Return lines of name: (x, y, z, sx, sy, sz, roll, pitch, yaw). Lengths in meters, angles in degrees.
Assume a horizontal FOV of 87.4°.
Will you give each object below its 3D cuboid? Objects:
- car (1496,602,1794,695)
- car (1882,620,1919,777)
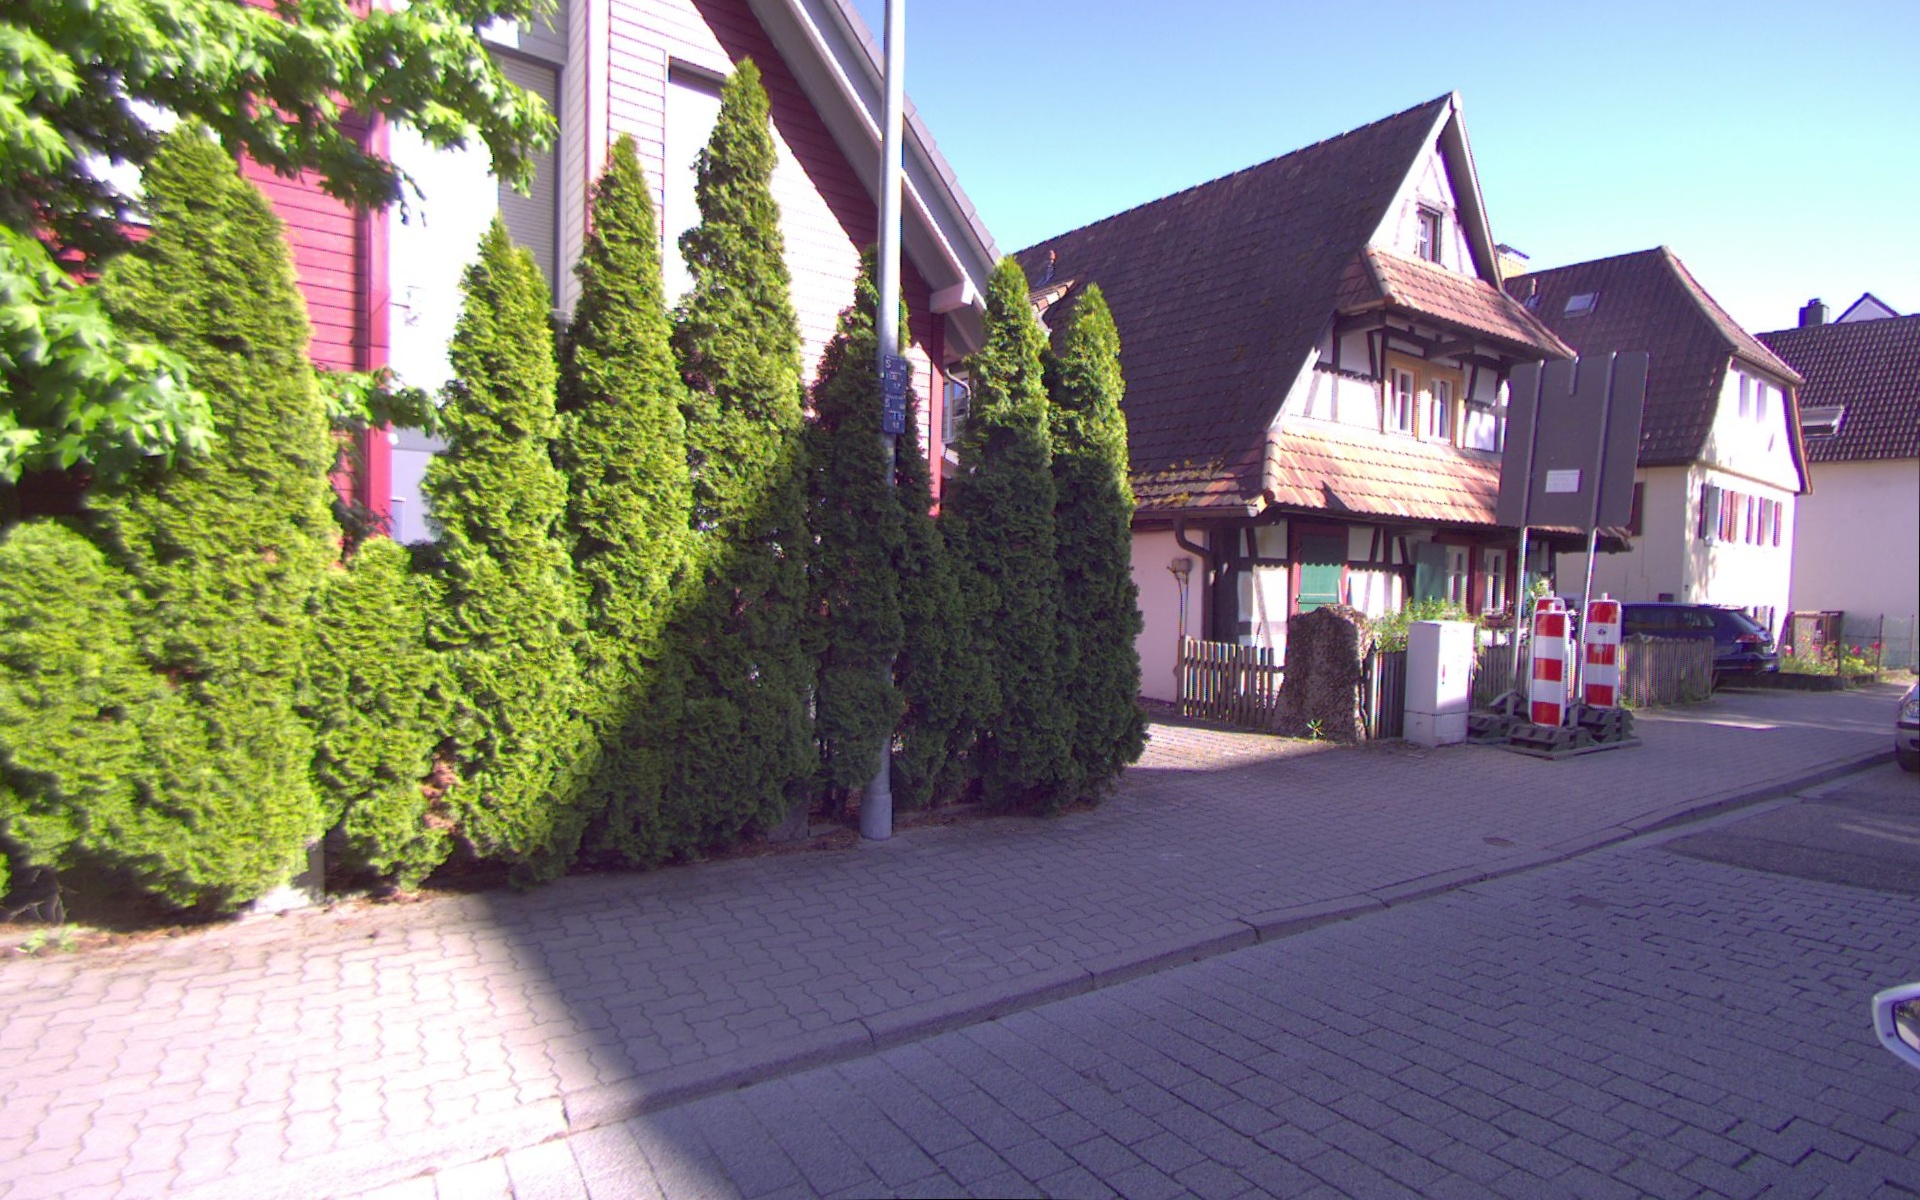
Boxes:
car: (12.224, 0.782, 18.136, 1.833, 1.481, 4.125, 0, 0, -39)
car: (10.612, 0.927, 9.743, 3.853, 1.421, 1.660, 1, 0, -35)
